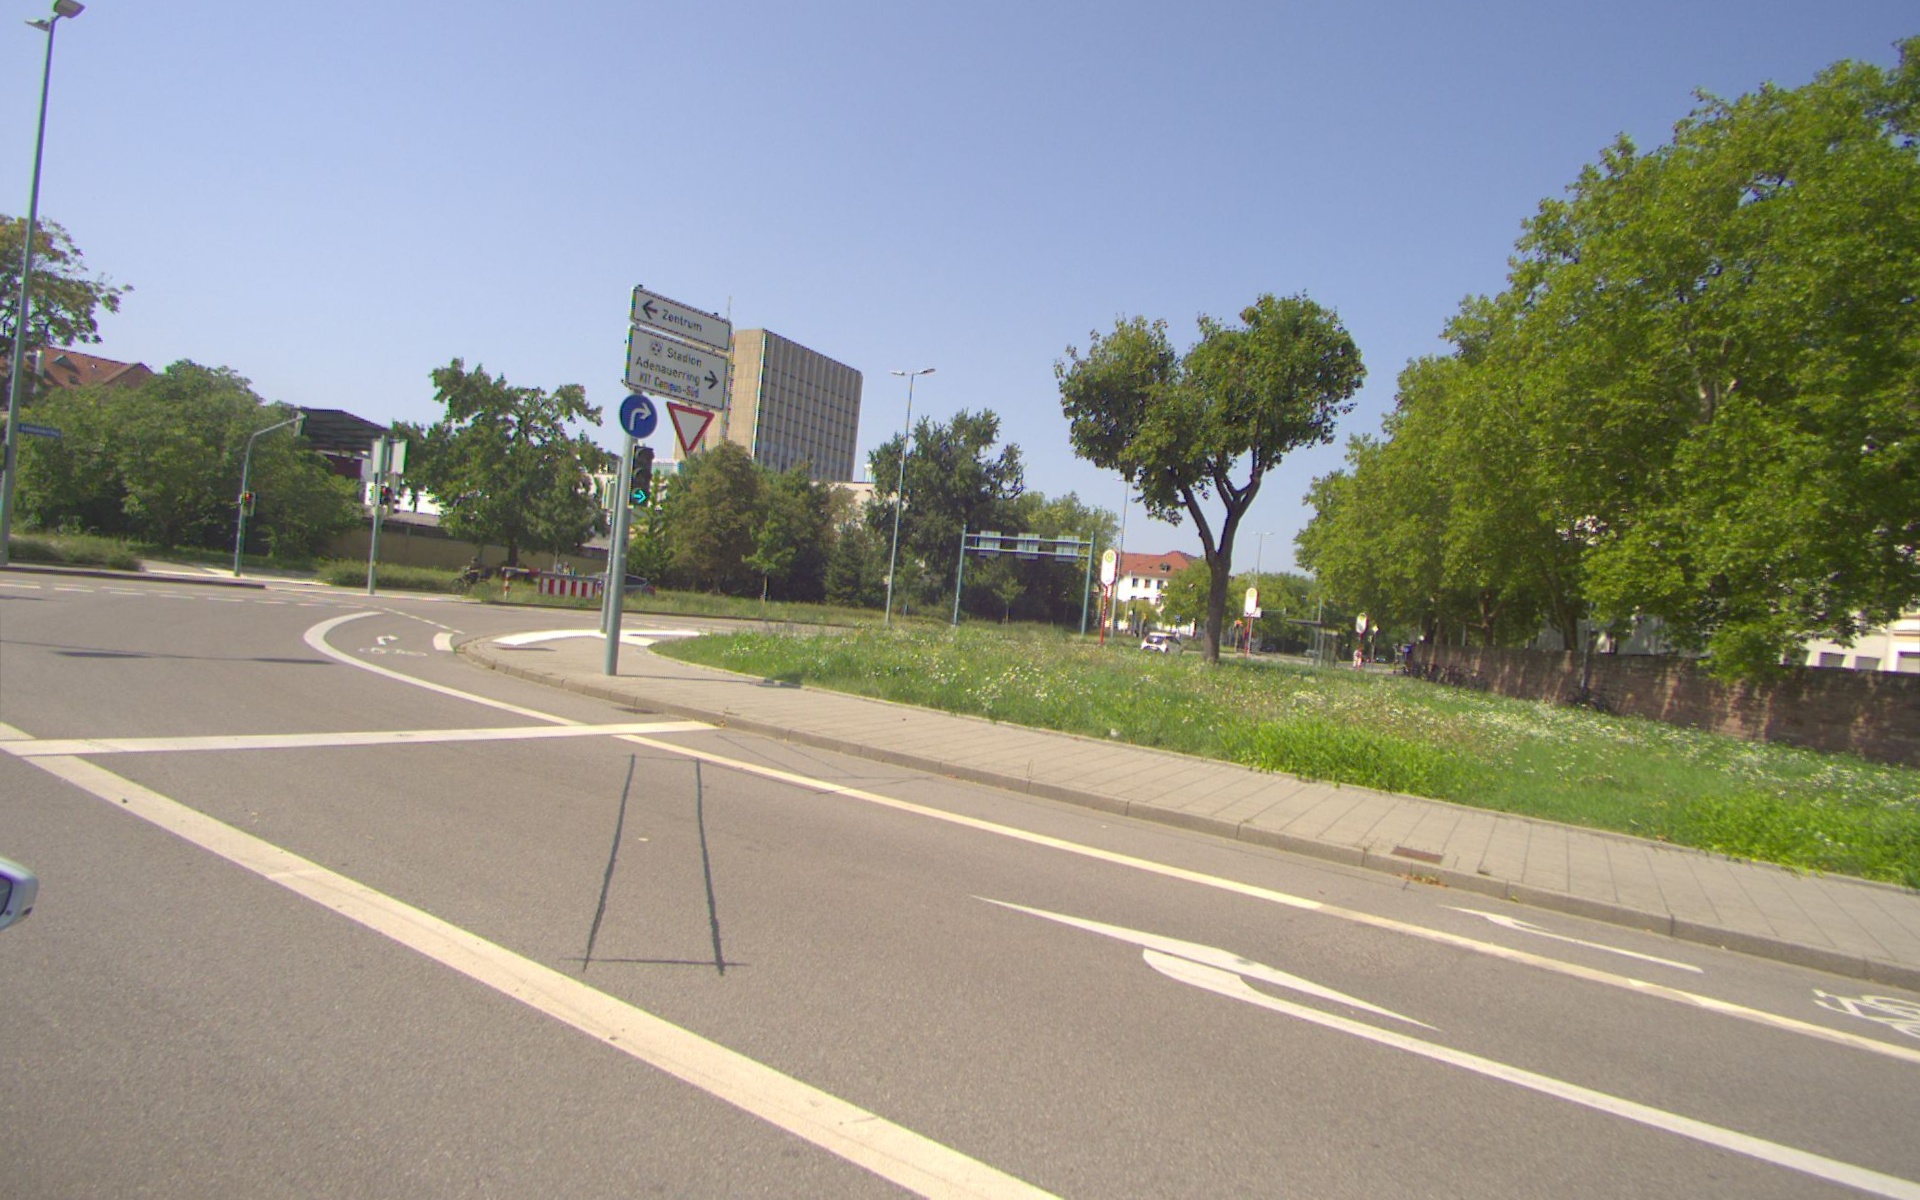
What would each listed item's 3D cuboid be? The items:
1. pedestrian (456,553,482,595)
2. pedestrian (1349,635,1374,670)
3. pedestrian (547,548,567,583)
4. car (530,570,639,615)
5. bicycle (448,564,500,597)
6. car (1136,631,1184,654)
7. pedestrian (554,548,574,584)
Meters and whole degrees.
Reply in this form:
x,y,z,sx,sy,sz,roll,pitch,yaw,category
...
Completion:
x,y,z,sx,sy,sz,roll,pitch,yaw,category
-20.921,-1.093,42.870,0.768,1.690,0.547,6,1,36,pedestrian
25.020,3.263,62.660,1.051,2.039,1.235,6,1,12,pedestrian
-21.236,-1.812,53.007,0.683,1.794,0.585,6,1,36,pedestrian
-14.125,-0.254,37.997,1.764,1.374,3.414,4,-1,34,car
-20.807,-0.839,43.073,0.774,1.228,1.783,6,0,35,bicycle
12.132,2.582,60.963,1.566,1.151,3.253,7,0,35,car
-20.686,-1.767,52.569,0.683,1.794,0.585,6,1,36,pedestrian
